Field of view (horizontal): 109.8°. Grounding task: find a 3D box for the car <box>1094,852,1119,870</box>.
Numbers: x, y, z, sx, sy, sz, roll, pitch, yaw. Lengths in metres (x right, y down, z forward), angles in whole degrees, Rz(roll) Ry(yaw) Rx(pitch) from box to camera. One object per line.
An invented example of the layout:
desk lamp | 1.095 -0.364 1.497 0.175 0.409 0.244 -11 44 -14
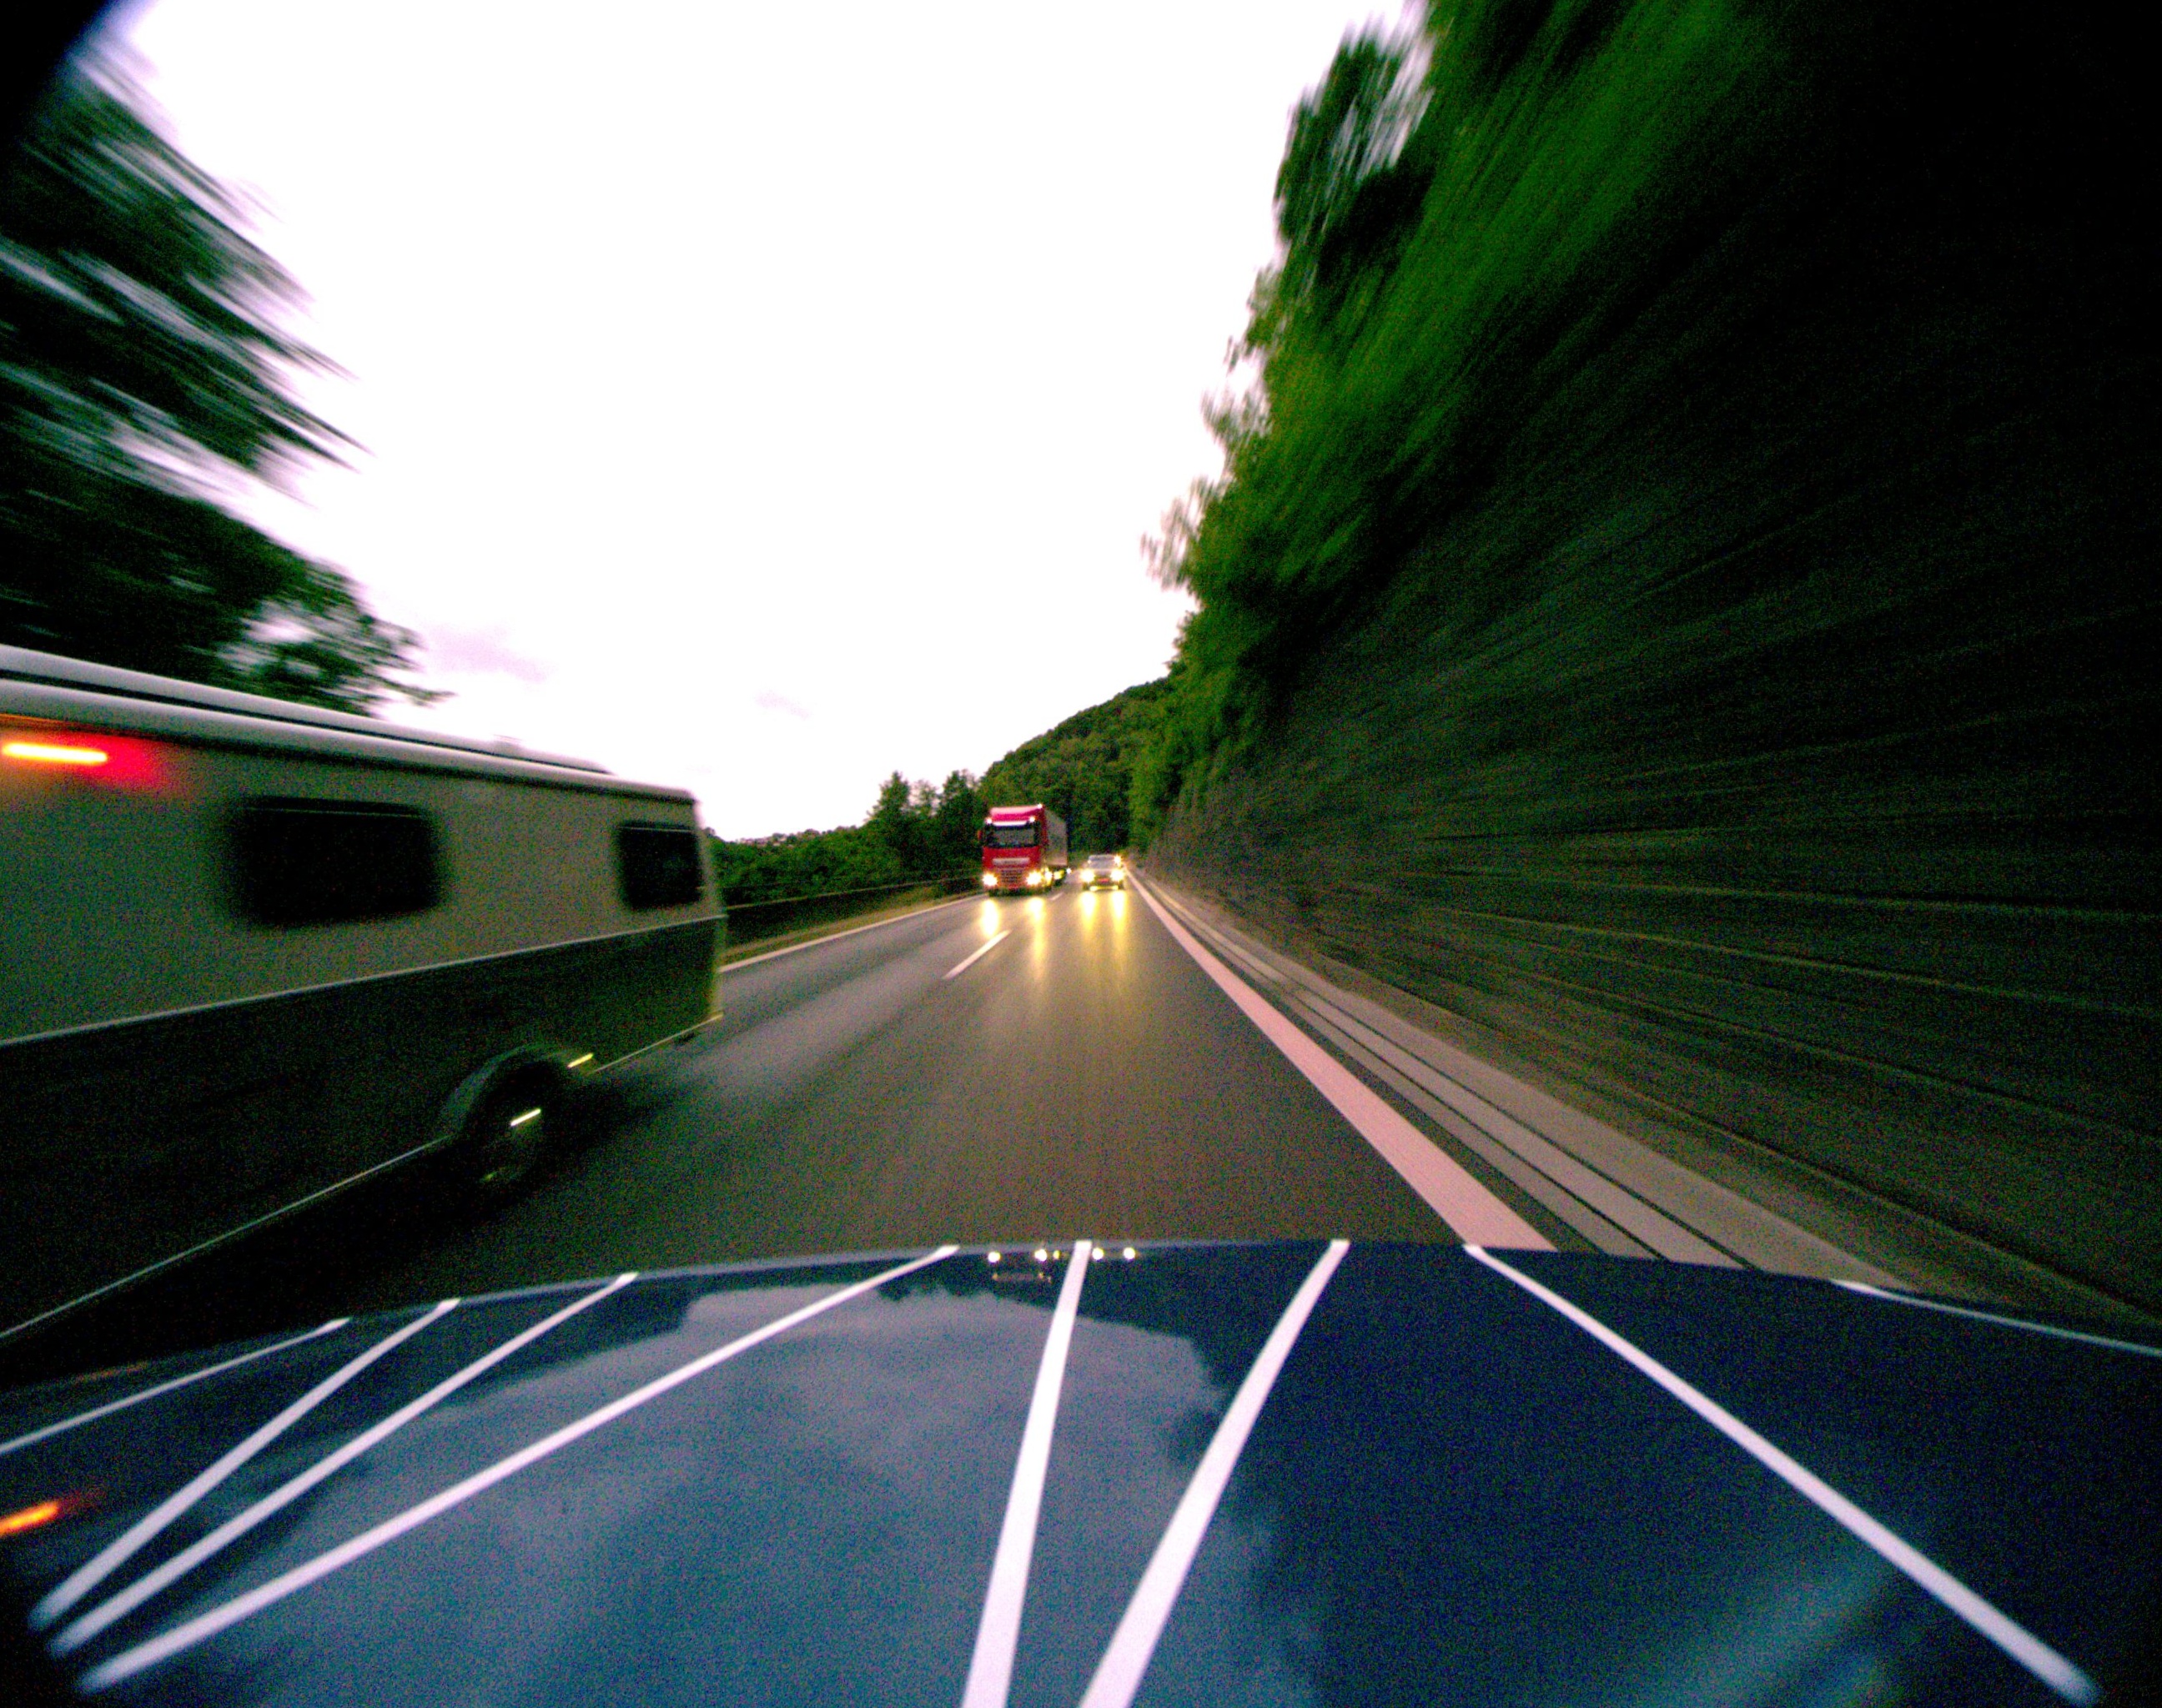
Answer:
car | 2.312 0.615 67.251 1.998 1.499 4.002 -2 -1 4

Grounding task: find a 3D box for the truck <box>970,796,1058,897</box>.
truck | -2.942 -0.341 35.415 3.076 4.120 6.447 -3 0 2

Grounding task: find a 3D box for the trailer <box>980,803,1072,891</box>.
trailer | -2.592 -0.241 41.734 3.104 3.946 14.223 -1 -1 4

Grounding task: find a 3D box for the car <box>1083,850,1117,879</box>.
car | 1.260 0.713 50.629 1.998 1.630 4.000 -7 0 0

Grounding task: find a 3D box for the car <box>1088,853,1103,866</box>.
car | 2.154 0.848 113.248 1.998 1.761 4.001 -2 -1 3

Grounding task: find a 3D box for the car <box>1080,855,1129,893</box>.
car | 1.120 0.864 34.418 1.998 1.499 4.001 -1 1 4

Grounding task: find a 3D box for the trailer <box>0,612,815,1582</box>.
trailer | -3.586 0.633 3.729 2.059 2.361 5.939 -3 0 3
